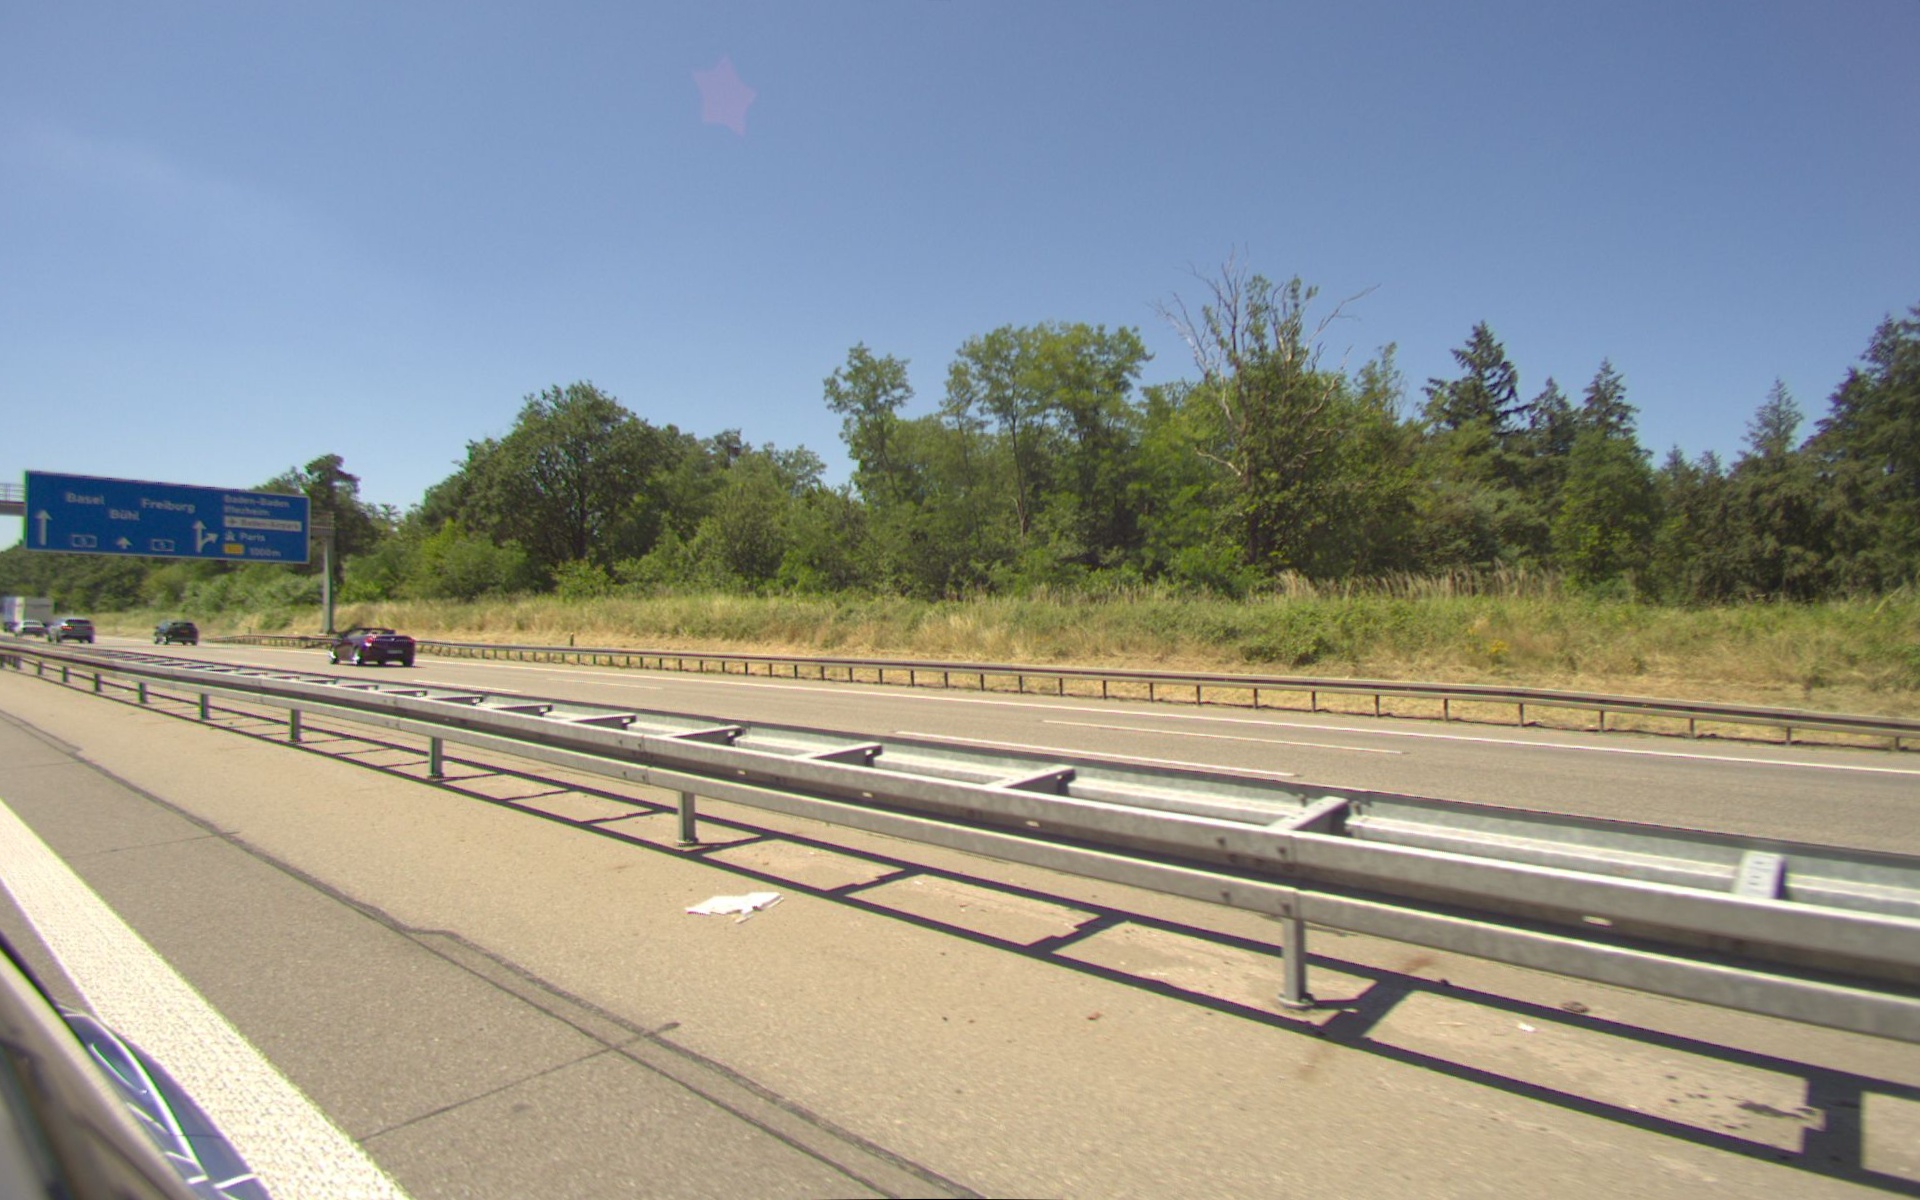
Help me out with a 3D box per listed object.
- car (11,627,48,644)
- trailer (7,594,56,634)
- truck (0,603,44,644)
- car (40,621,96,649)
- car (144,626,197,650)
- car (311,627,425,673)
[{"bbox_3d":[-78.695,2.990,85.544,4.478,1.406,1.787,-1,-3,41],"label":"car"},{"bbox_3d":[-103.519,1.577,112.821,8.631,4.315,3.026,-1,-2,41],"label":"trailer"},{"bbox_3d":[-110.879,2.777,119.344,10.453,4.593,3.026,-1,-3,41],"label":"truck"},{"bbox_3d":[-58.107,2.276,65.906,5.287,1.731,1.941,-1,-3,41],"label":"car"},{"bbox_3d":[-53.436,2.581,68.469,4.947,1.566,1.812,-1,-3,41],"label":"car"},{"bbox_3d":[-21.634,1.782,36.905,5.287,1.537,1.941,-1,-3,41],"label":"car"}]
